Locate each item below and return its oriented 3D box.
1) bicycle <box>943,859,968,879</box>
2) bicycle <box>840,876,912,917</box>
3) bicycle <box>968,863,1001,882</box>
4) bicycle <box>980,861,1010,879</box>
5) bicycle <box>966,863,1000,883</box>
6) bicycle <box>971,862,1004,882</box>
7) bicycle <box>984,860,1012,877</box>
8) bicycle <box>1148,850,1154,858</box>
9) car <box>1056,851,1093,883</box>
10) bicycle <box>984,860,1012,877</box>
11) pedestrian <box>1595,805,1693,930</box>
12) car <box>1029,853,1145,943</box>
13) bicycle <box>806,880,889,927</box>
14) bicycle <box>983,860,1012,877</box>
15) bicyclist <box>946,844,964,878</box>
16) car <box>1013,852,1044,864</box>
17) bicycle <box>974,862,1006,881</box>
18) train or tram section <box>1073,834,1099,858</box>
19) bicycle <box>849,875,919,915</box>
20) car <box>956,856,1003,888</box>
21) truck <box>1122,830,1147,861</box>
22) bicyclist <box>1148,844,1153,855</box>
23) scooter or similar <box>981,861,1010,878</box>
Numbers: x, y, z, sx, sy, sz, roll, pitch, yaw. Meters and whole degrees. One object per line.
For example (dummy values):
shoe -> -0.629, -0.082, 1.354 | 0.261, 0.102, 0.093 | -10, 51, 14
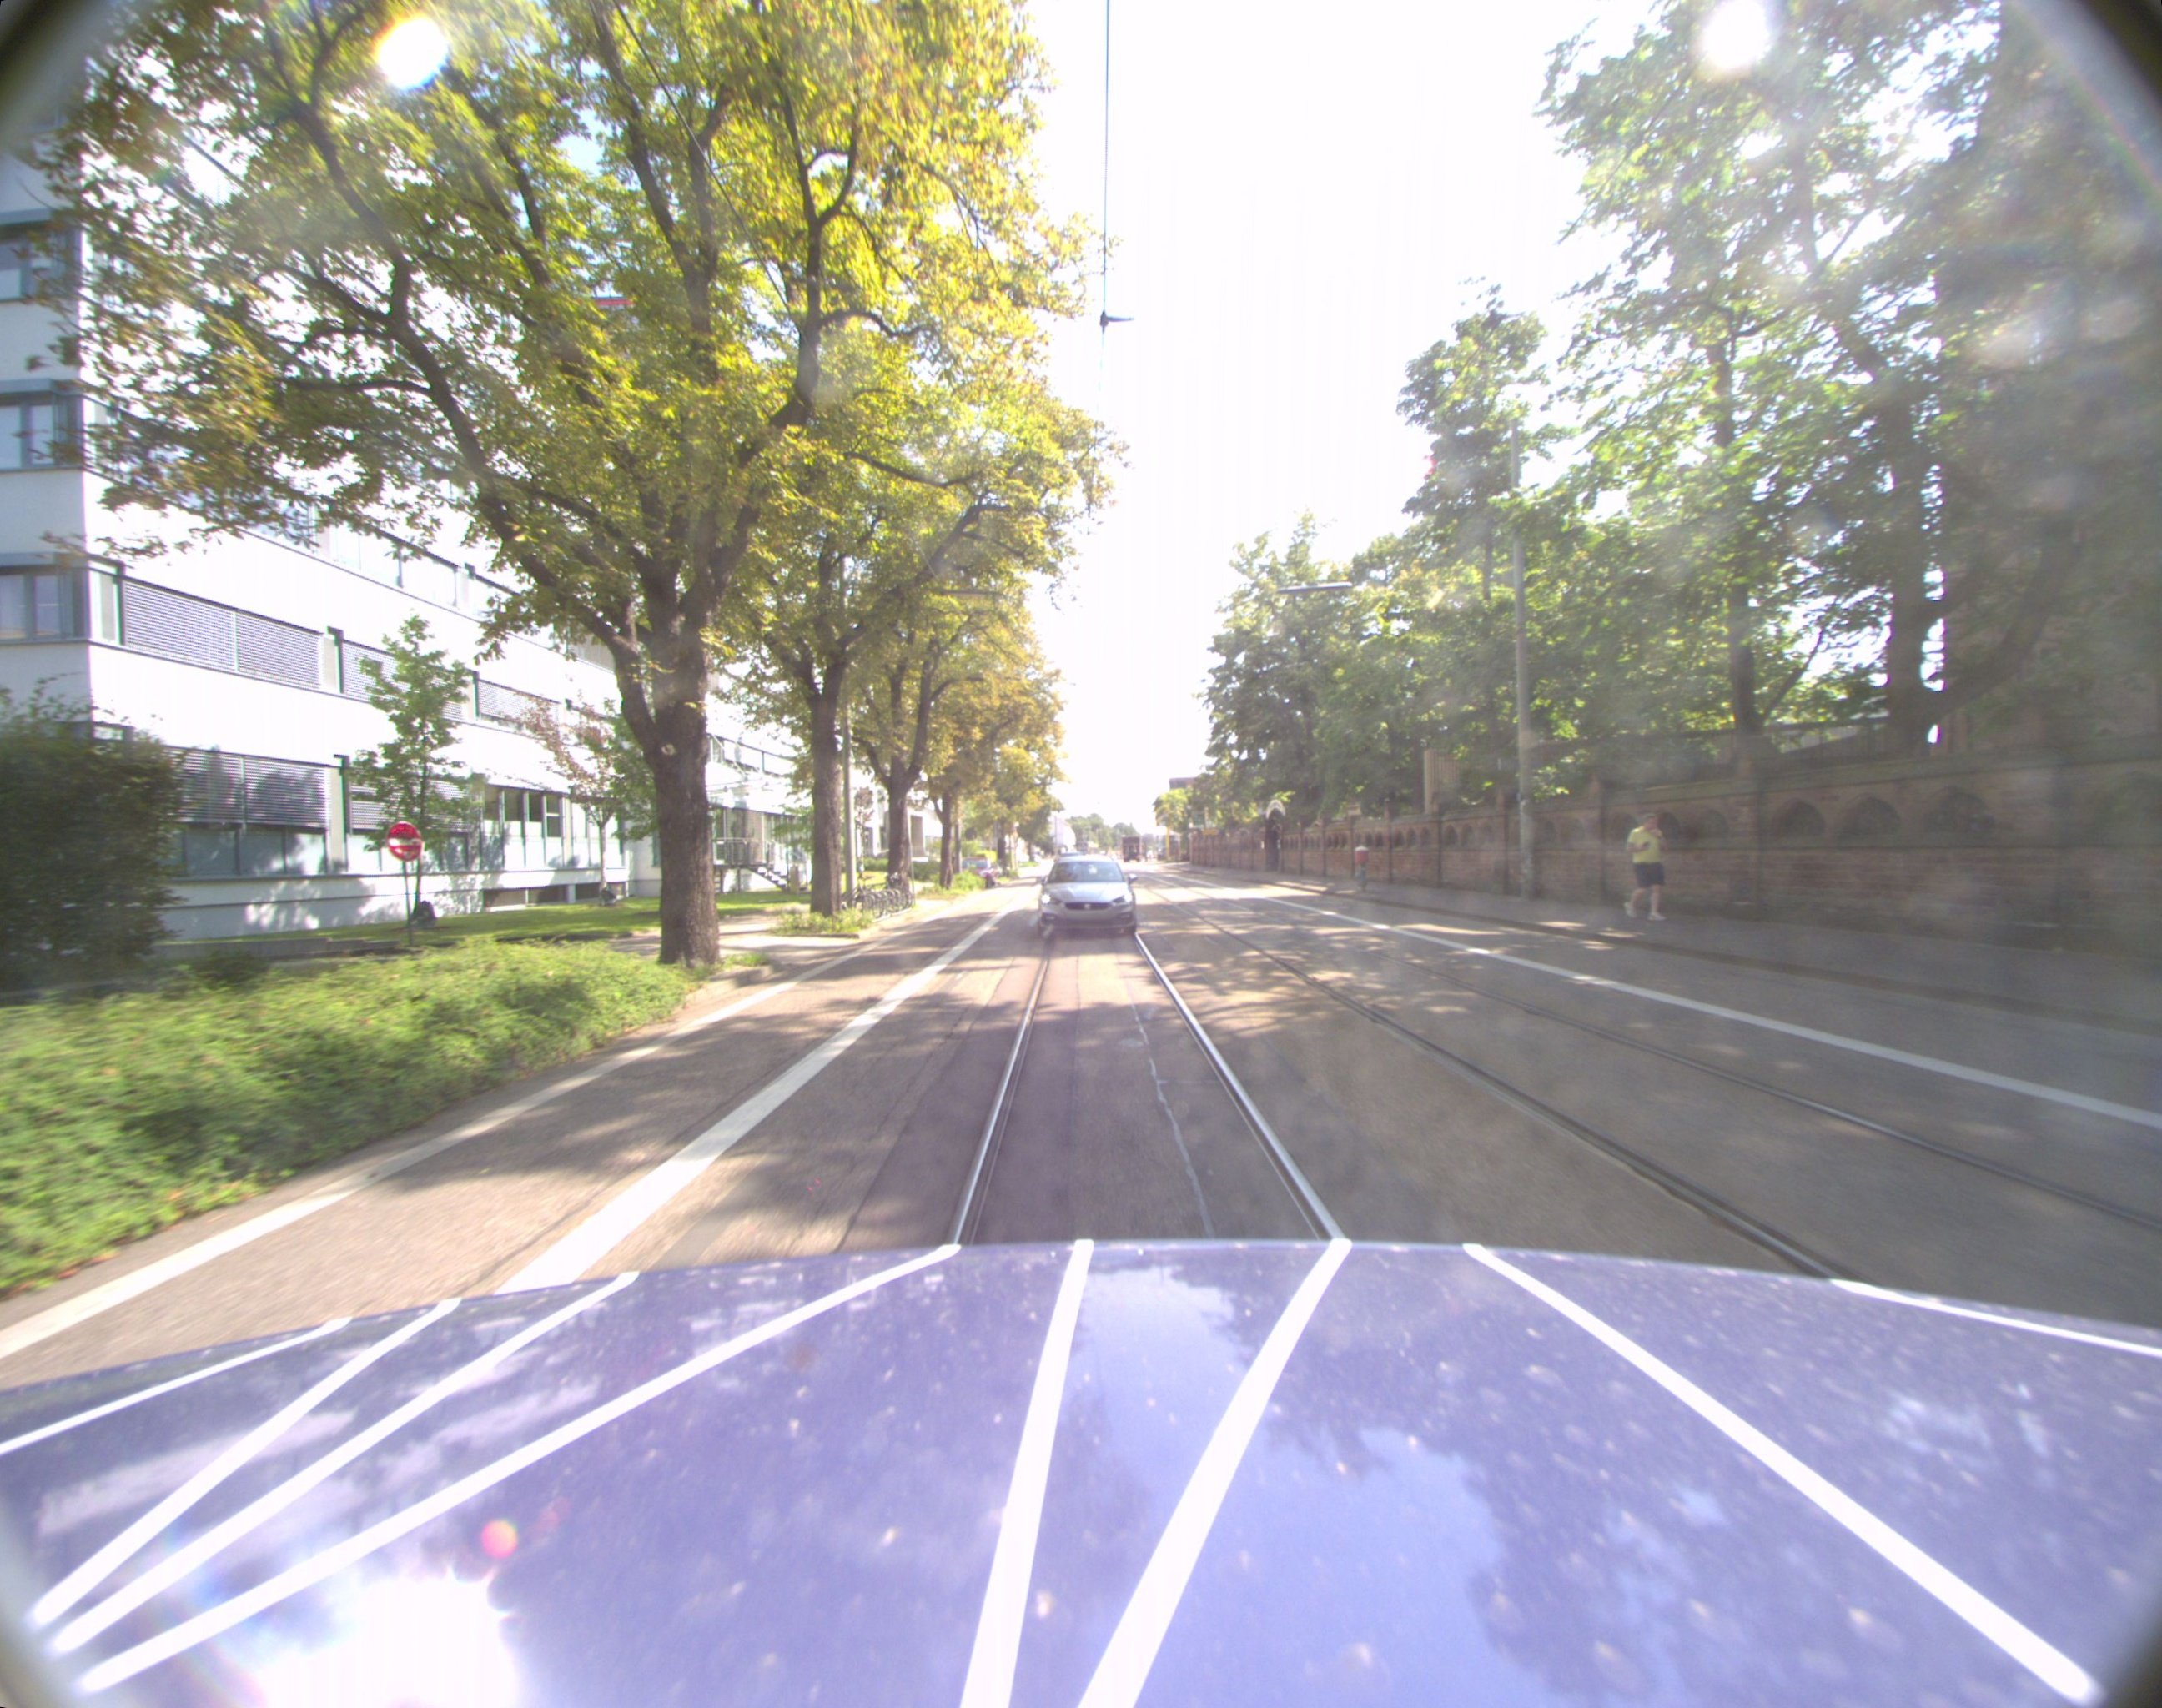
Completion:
bicycle -> -7.661, 0.903, 46.437 | 1.138, 1.118, 2.536 | -2, 1, -2
bicycle -> -5.540, 1.149, 20.534 | 1.776, 1.044, 0.540 | -1, 1, -1
bicycle -> -5.421, 1.038, 42.924 | 1.776, 1.065, 0.540 | -1, 1, -1
bicycle -> -5.375, 0.994, 47.419 | 1.776, 1.065, 0.540 | -1, 1, -1
bicycle -> -5.450, 1.046, 42.250 | 1.776, 1.065, 0.540 | -1, 1, -1
bicycle -> -5.366, 1.028, 43.735 | 1.776, 1.065, 0.540 | -1, 1, -1
bicycle -> -5.485, 0.971, 50.218 | 1.776, 1.065, 0.540 | -1, 1, -1
bicycle -> 12.715, 0.004, 138.357 | 0.787, 1.233, 2.034 | -4, -1, 2
car -> -0.348, 0.646, 40.710 | 1.834, 1.543, 4.032 | -2, 1, 0
bicycle -> -5.474, 0.971, 50.240 | 1.776, 1.065, 0.540 | -1, 1, -1
pedestrian -> 9.483, 0.218, 12.833 | 0.866, 2.002, 0.983 | -2, 1, -2
car -> 0.096, 0.747, 15.413 | 1.928, 1.465, 4.816 | -2, 0, 0
bicycle -> -5.531, 1.172, 18.054 | 1.776, 1.044, 0.540 | -1, 1, -1
bicycle -> -5.445, 0.975, 49.639 | 1.776, 1.065, 0.540 | -1, 1, -1
bicyclist -> -7.676, 0.438, 46.334 | 0.783, 2.002, 1.274 | -2, 1, -2
car -> -8.034, 0.588, 115.665 | 4.552, 1.506, 1.960 | -2, 1, -5
bicycle -> -5.362, 1.018, 44.836 | 1.776, 1.065, 0.540 | -1, 1, -1
train or tram section -> 1.108, -1.472, 137.439 | 4.111, 3.711, 24.377 | -2, 1, 2
bicycle -> -5.493, 1.140, 21.211 | 1.776, 1.044, 0.540 | -1, 1, -1
car -> -5.127, 0.881, 38.776 | 1.760, 1.453, 4.274 | -1, 0, 0
truck -> 8.602, -1.331, 120.282 | 3.171, 4.427, 16.846 | -2, 1, 6
bicyclist -> 12.649, -0.814, 138.347 | 0.642, 1.918, 1.175 | -2, 1, 3
scooter or similar -> -5.393, 0.989, 48.006 | 1.776, 1.065, 0.540 | -1, 1, -1
